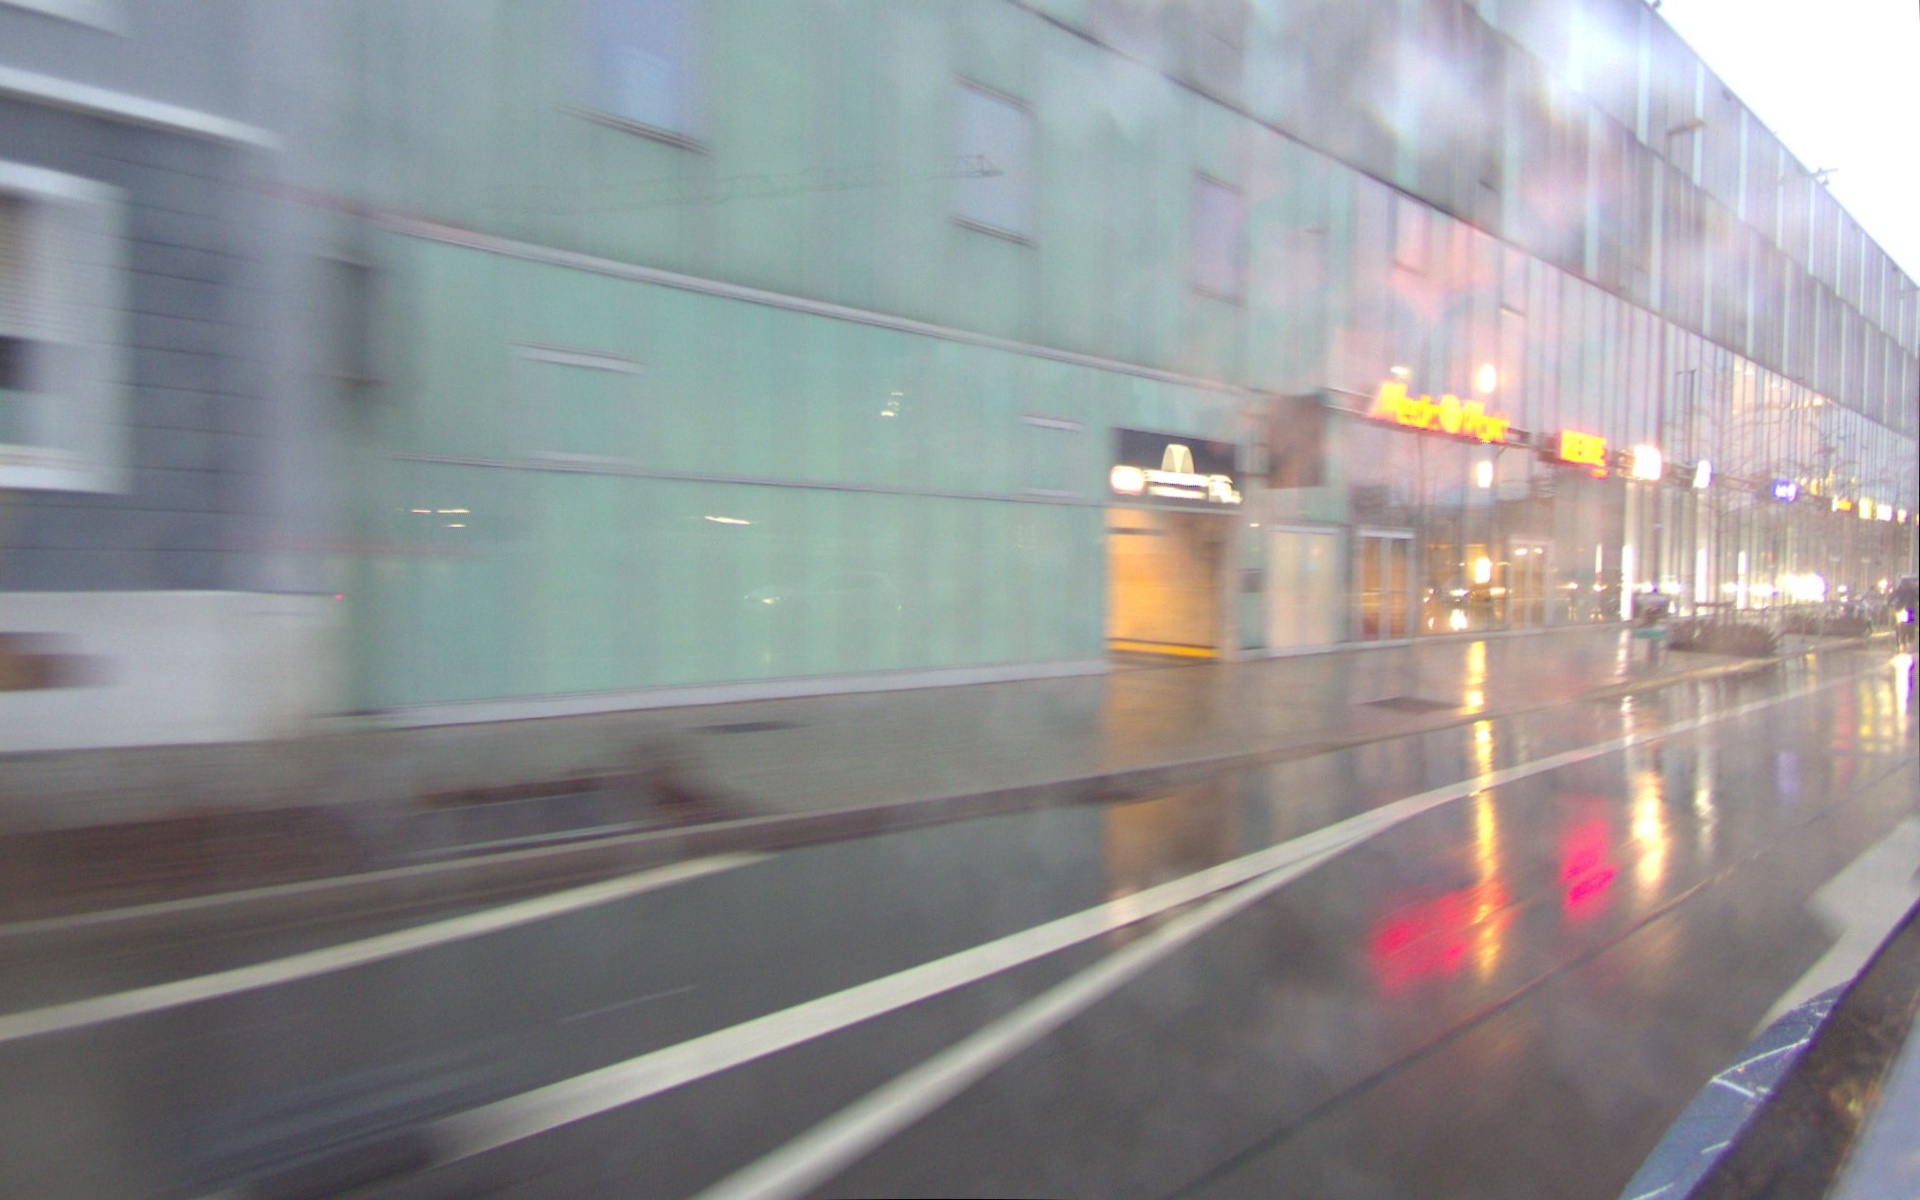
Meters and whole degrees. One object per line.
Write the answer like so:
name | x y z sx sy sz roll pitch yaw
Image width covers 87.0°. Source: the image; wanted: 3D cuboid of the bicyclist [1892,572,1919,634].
bicyclist | 23.237 0.055 24.410 1.047 1.481 0.945 -1 1 -37

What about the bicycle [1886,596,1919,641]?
bicycle | 23.228 0.431 24.422 2.199 1.012 0.945 -1 1 -37

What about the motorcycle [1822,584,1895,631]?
motorcycle | 27.966 0.218 31.535 0.584 1.350 1.910 0 2 1

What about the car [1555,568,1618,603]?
car | 32.765 -0.766 52.924 3.929 1.752 1.674 -1 1 -40
